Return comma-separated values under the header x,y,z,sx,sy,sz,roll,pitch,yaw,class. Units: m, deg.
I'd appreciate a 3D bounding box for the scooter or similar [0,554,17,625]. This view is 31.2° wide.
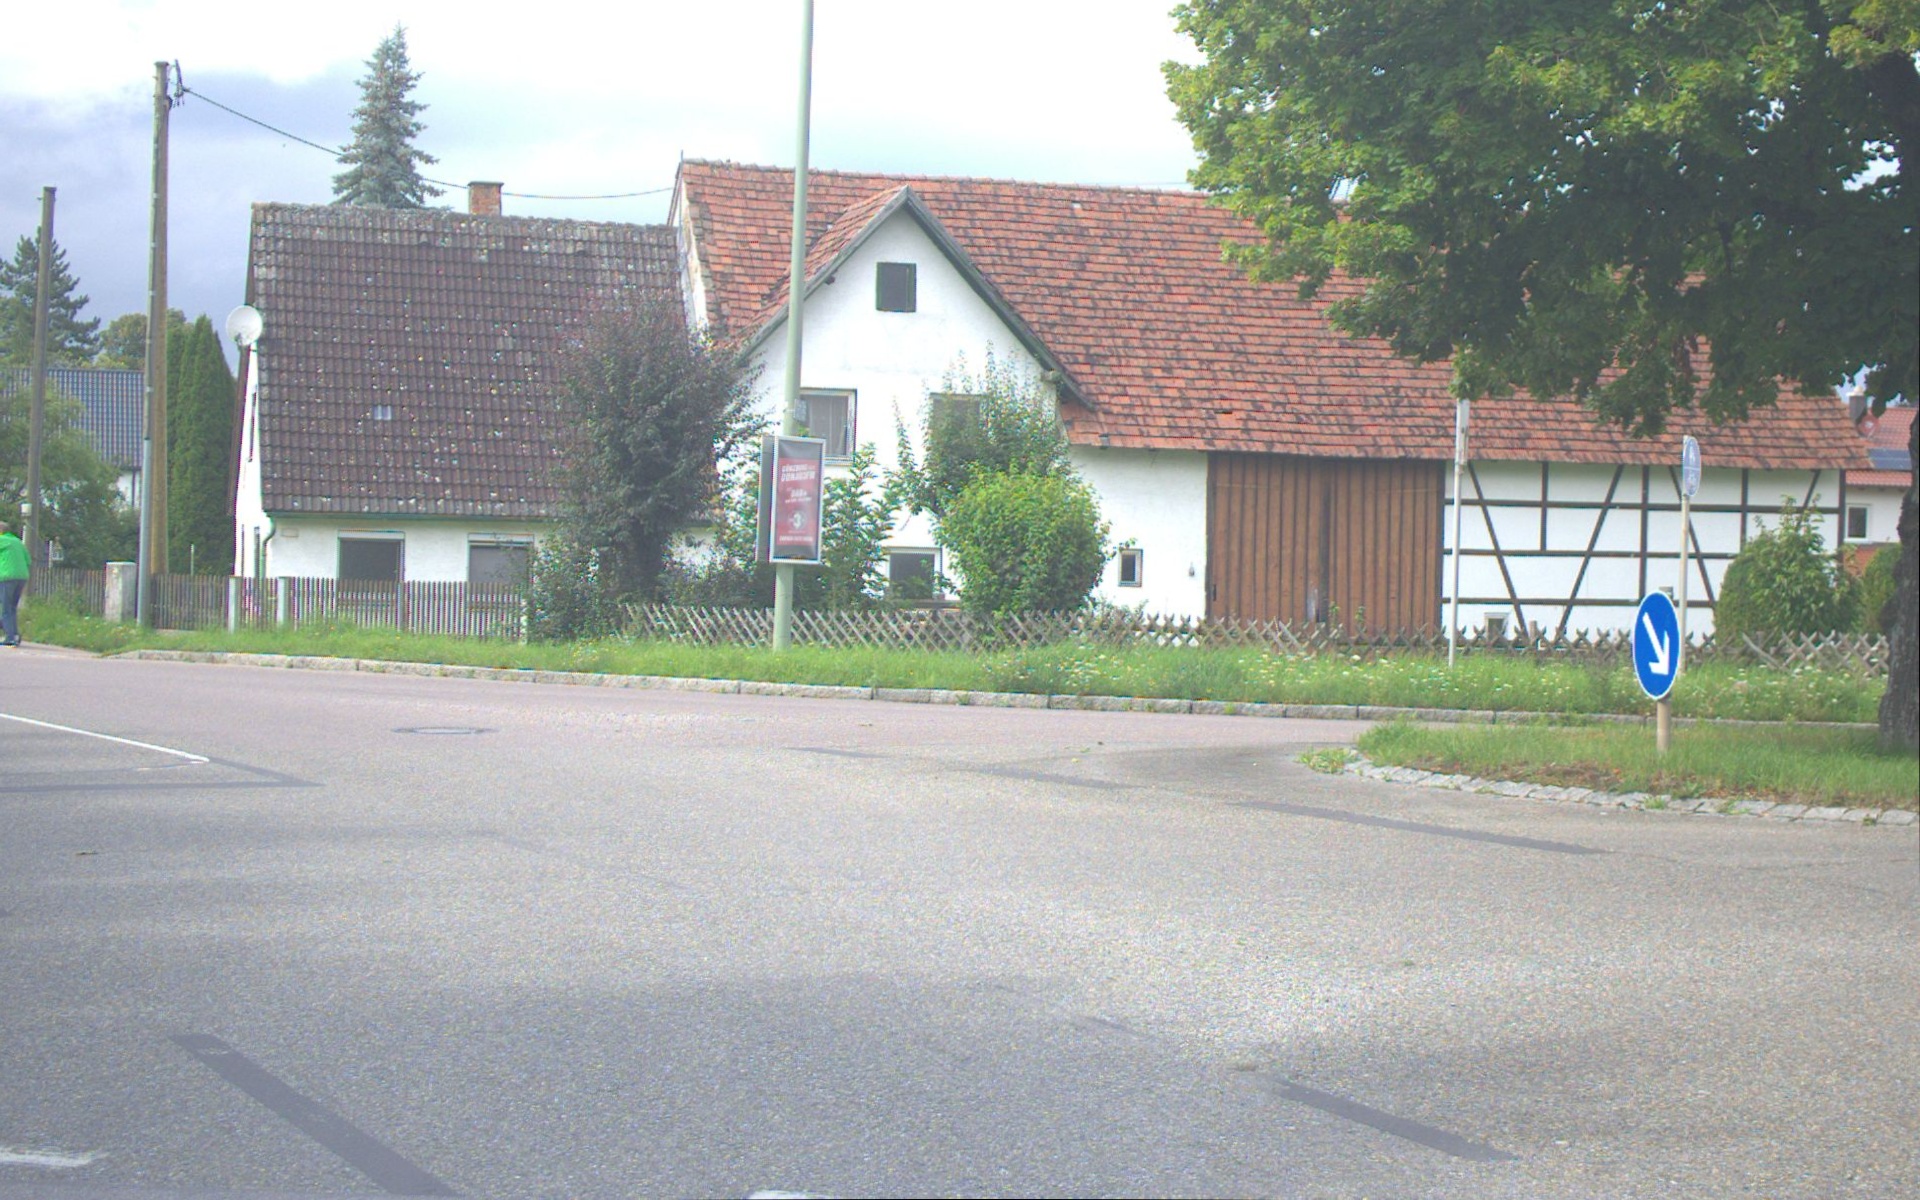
x,y,z,sx,sy,sz,roll,pitch,yaw,class
-13.293,-0.167,46.787,0.630,0.945,0.622,6,-2,-33,scooter or similar

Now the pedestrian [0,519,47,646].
x,y,z,sx,sy,sz,roll,pitch,yaw,class
-12.859,-0.249,46.236,0.788,1.659,0.712,6,-2,-33,pedestrian
